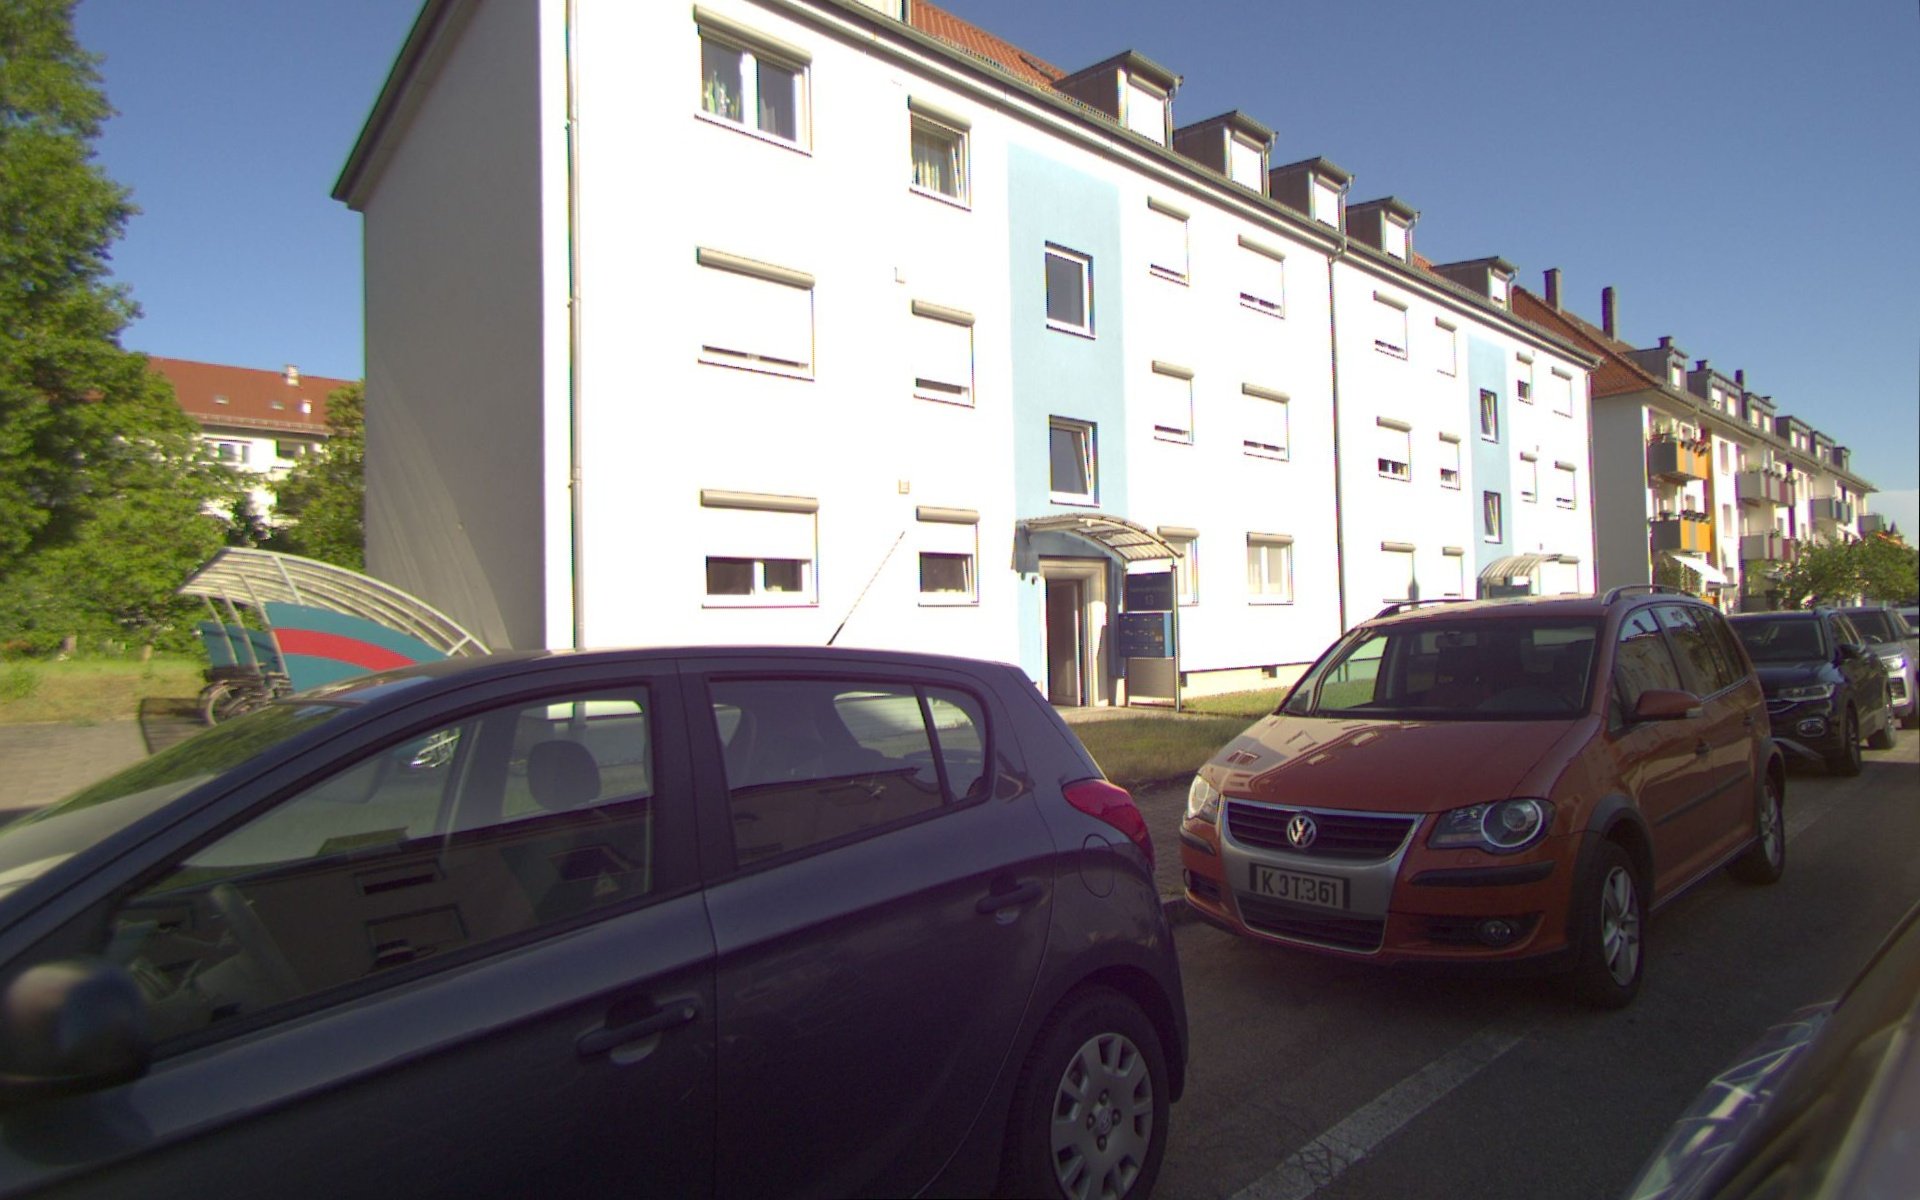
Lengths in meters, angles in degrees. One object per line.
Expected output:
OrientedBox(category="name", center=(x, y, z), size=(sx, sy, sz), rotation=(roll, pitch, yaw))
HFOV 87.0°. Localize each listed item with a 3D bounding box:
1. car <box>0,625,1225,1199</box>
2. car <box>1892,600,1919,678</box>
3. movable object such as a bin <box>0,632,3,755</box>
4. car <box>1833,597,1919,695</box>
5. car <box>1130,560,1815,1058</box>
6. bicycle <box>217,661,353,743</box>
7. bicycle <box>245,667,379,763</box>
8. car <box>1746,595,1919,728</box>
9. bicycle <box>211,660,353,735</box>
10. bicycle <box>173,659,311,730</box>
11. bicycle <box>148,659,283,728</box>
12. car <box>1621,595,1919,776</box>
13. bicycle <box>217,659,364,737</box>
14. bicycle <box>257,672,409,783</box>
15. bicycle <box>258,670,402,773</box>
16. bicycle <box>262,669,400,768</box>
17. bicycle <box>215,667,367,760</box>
OrientedBox(category="car", center=(-1.187, 0.821, 2.081), size=(3.794, 1.468, 1.617), rotation=(0, -2, -44))
OrientedBox(category="car", center=(21.305, 0.777, 21.523), size=(3.970, 1.591, 1.707), rotation=(0, -2, -41))
OrientedBox(category="movable object such as a bin", center=(-11.615, 1.094, 11.209), size=(1.376, 1.454, 1.297), rotation=(0, -2, -40))
OrientedBox(category="car", center=(16.895, 0.748, 17.820), size=(3.970, 1.591, 1.707), rotation=(0, -2, -41))
OrientedBox(category="car", center=(2.991, 0.699, 5.409), size=(4.346, 1.627, 1.730), rotation=(0, -2, -41))
OrientedBox(category="bicycle", center=(-8.916, 1.324, 13.401), size=(1.481, 0.958, 0.319), rotation=(0, 0, -39))
OrientedBox(category="bicycle", center=(-7.304, 1.276, 11.435), size=(1.260, 0.958, 0.319), rotation=(0, 0, -39))
OrientedBox(category="car", center=(12.406, 0.753, 13.983), size=(3.808, 1.591, 1.707), rotation=(0, -2, -41))
OrientedBox(category="bicycle", center=(-9.905, 1.400, 14.825), size=(1.709, 0.958, 0.421), rotation=(0, 0, -40))
OrientedBox(category="bicycle", center=(-11.028, 1.434, 15.604), size=(1.706, 0.958, 0.422), rotation=(0, 0, -33))
OrientedBox(category="bicycle", center=(-11.959, 1.484, 16.304), size=(0.420, 0.958, 1.714), rotation=(-1, 0, 40))
OrientedBox(category="car", center=(8.567, 0.772, 10.602), size=(3.808, 1.545, 1.706), rotation=(0, -3, -41))
OrientedBox(category="bicycle", center=(-9.458, 1.368, 14.348), size=(1.709, 0.958, 0.421), rotation=(0, 0, -40))
OrientedBox(category="bicycle", center=(-6.225, 1.241, 10.073), size=(1.260, 0.958, 0.319), rotation=(0, 0, -39))
OrientedBox(category="bicycle", center=(-6.614, 1.252, 10.653), size=(1.260, 0.958, 0.319), rotation=(0, 0, -39))
OrientedBox(category="bicycle", center=(-6.870, 1.276, 11.090), size=(1.260, 0.958, 0.319), rotation=(0, 0, -39))
OrientedBox(category="bicycle", center=(-7.904, 1.320, 11.997), size=(1.481, 0.958, 0.319), rotation=(0, 0, -39))
